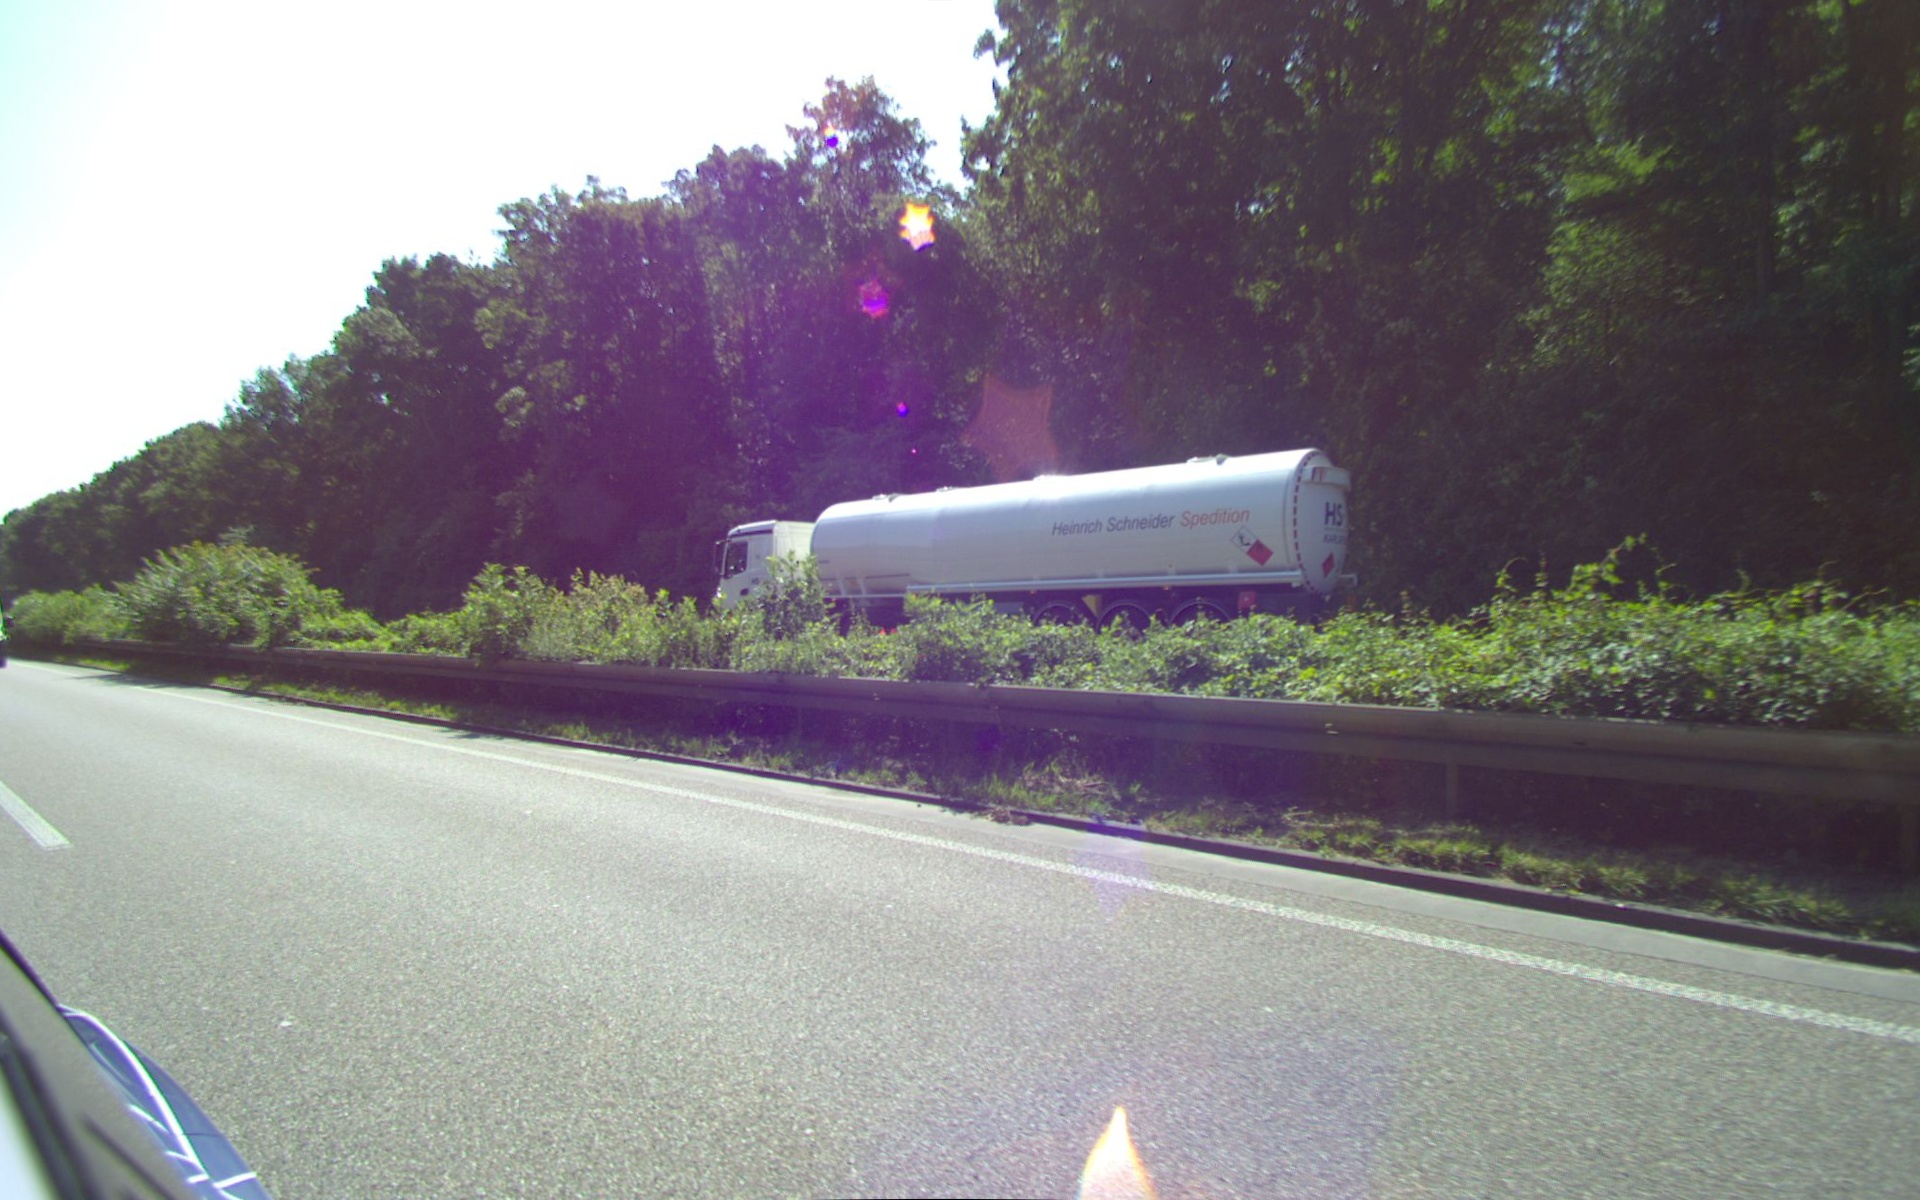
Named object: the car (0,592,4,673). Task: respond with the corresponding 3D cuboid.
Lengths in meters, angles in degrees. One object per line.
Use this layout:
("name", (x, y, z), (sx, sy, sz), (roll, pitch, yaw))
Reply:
("car", (-31.336, 1.022, 31.384), (4.635, 2.462, 2.020), (-1, 0, 41))

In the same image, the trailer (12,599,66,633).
("trailer", (-92.528, 1.624, 101.515), (14.425, 3.260, 2.466), (-1, 0, 42))

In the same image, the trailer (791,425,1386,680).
("trailer", (1.403, -0.557, 18.123), (11.414, 3.427, 1.973), (-1, 0, 41))

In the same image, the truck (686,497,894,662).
("truck", (-3.935, -0.397, 23.043), (4.540, 3.367, 2.314), (-1, 0, 41))
